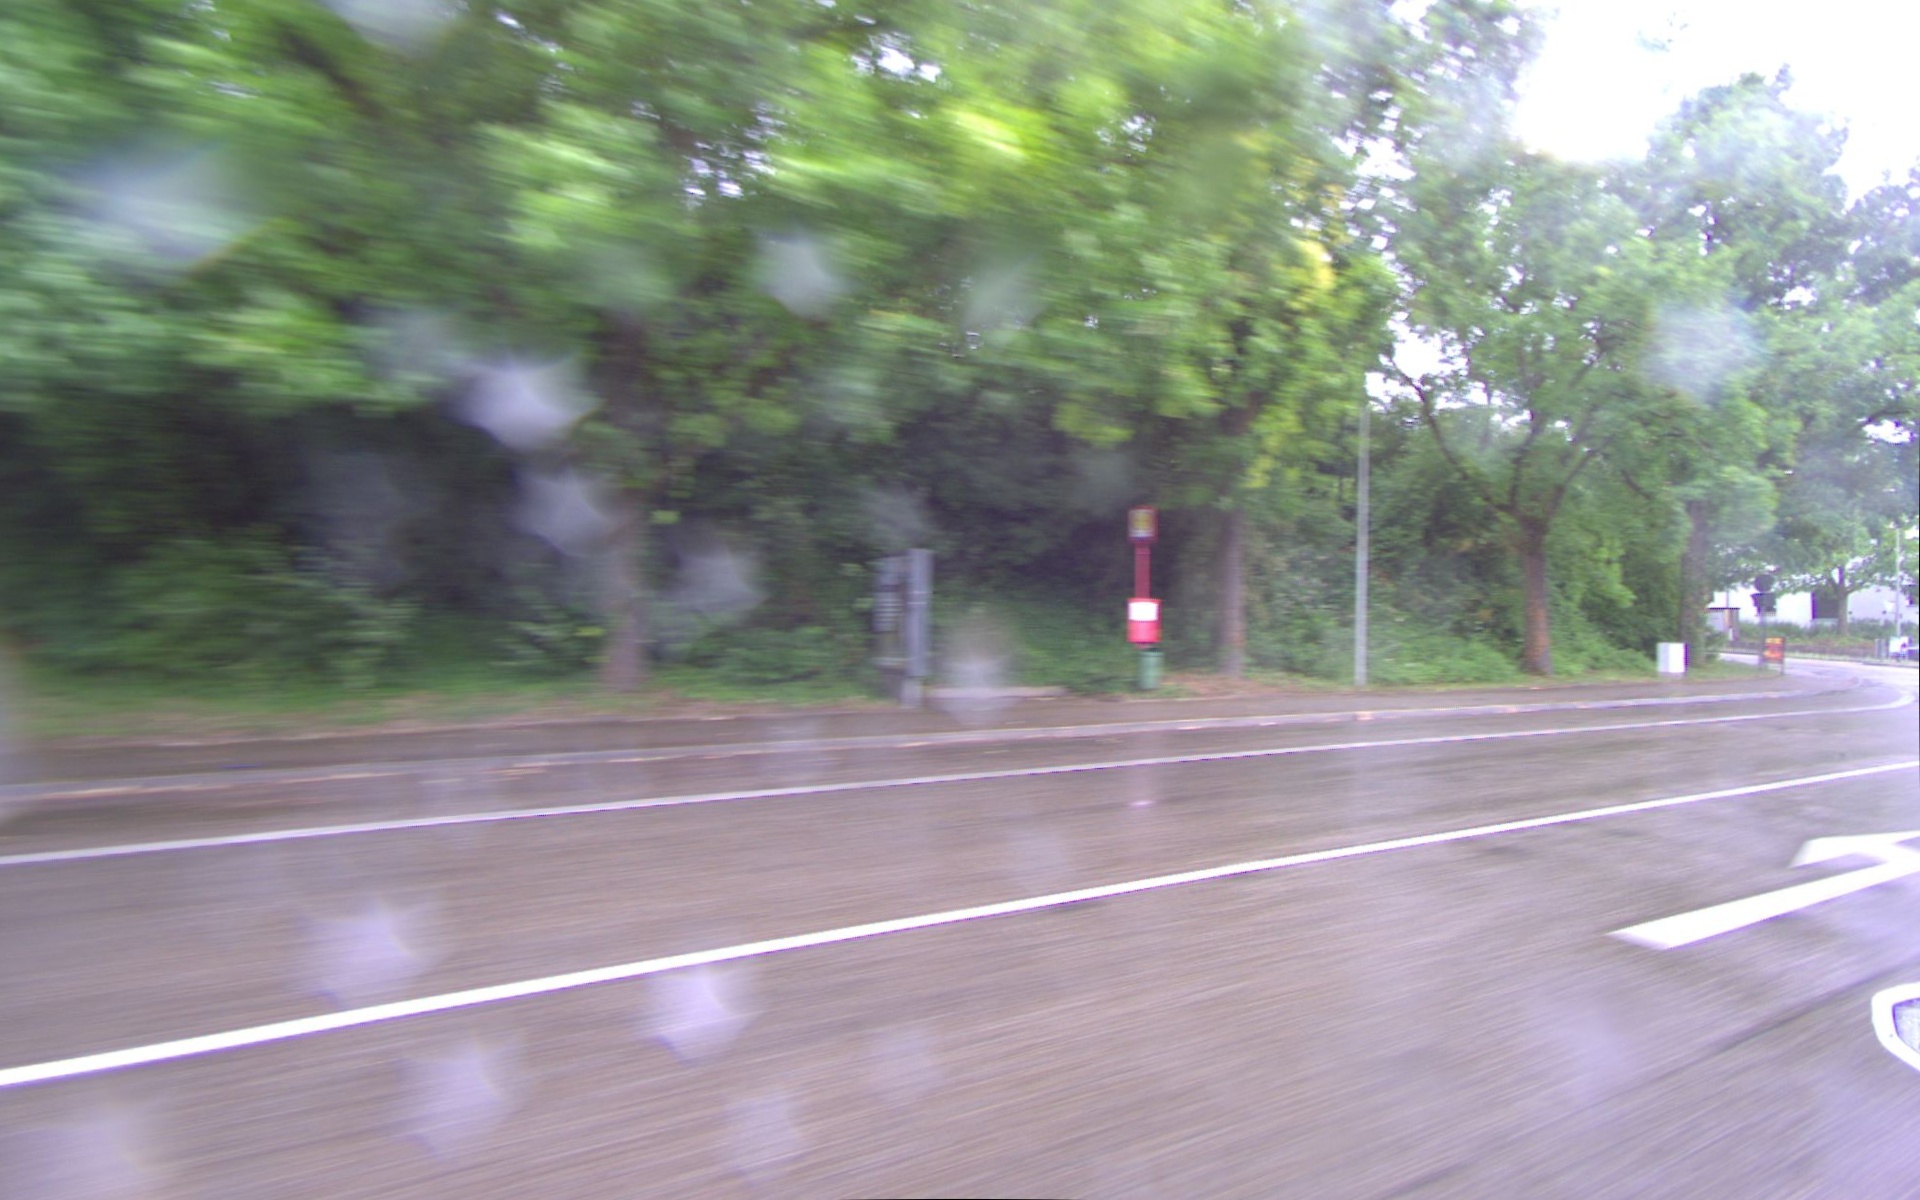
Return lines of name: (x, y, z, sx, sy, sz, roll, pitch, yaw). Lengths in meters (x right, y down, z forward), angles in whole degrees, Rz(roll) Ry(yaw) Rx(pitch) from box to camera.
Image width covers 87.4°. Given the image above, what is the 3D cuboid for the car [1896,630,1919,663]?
car: (54.548, 2.630, 55.432, 3.932, 1.786, 1.795, 1, 0, 33)
